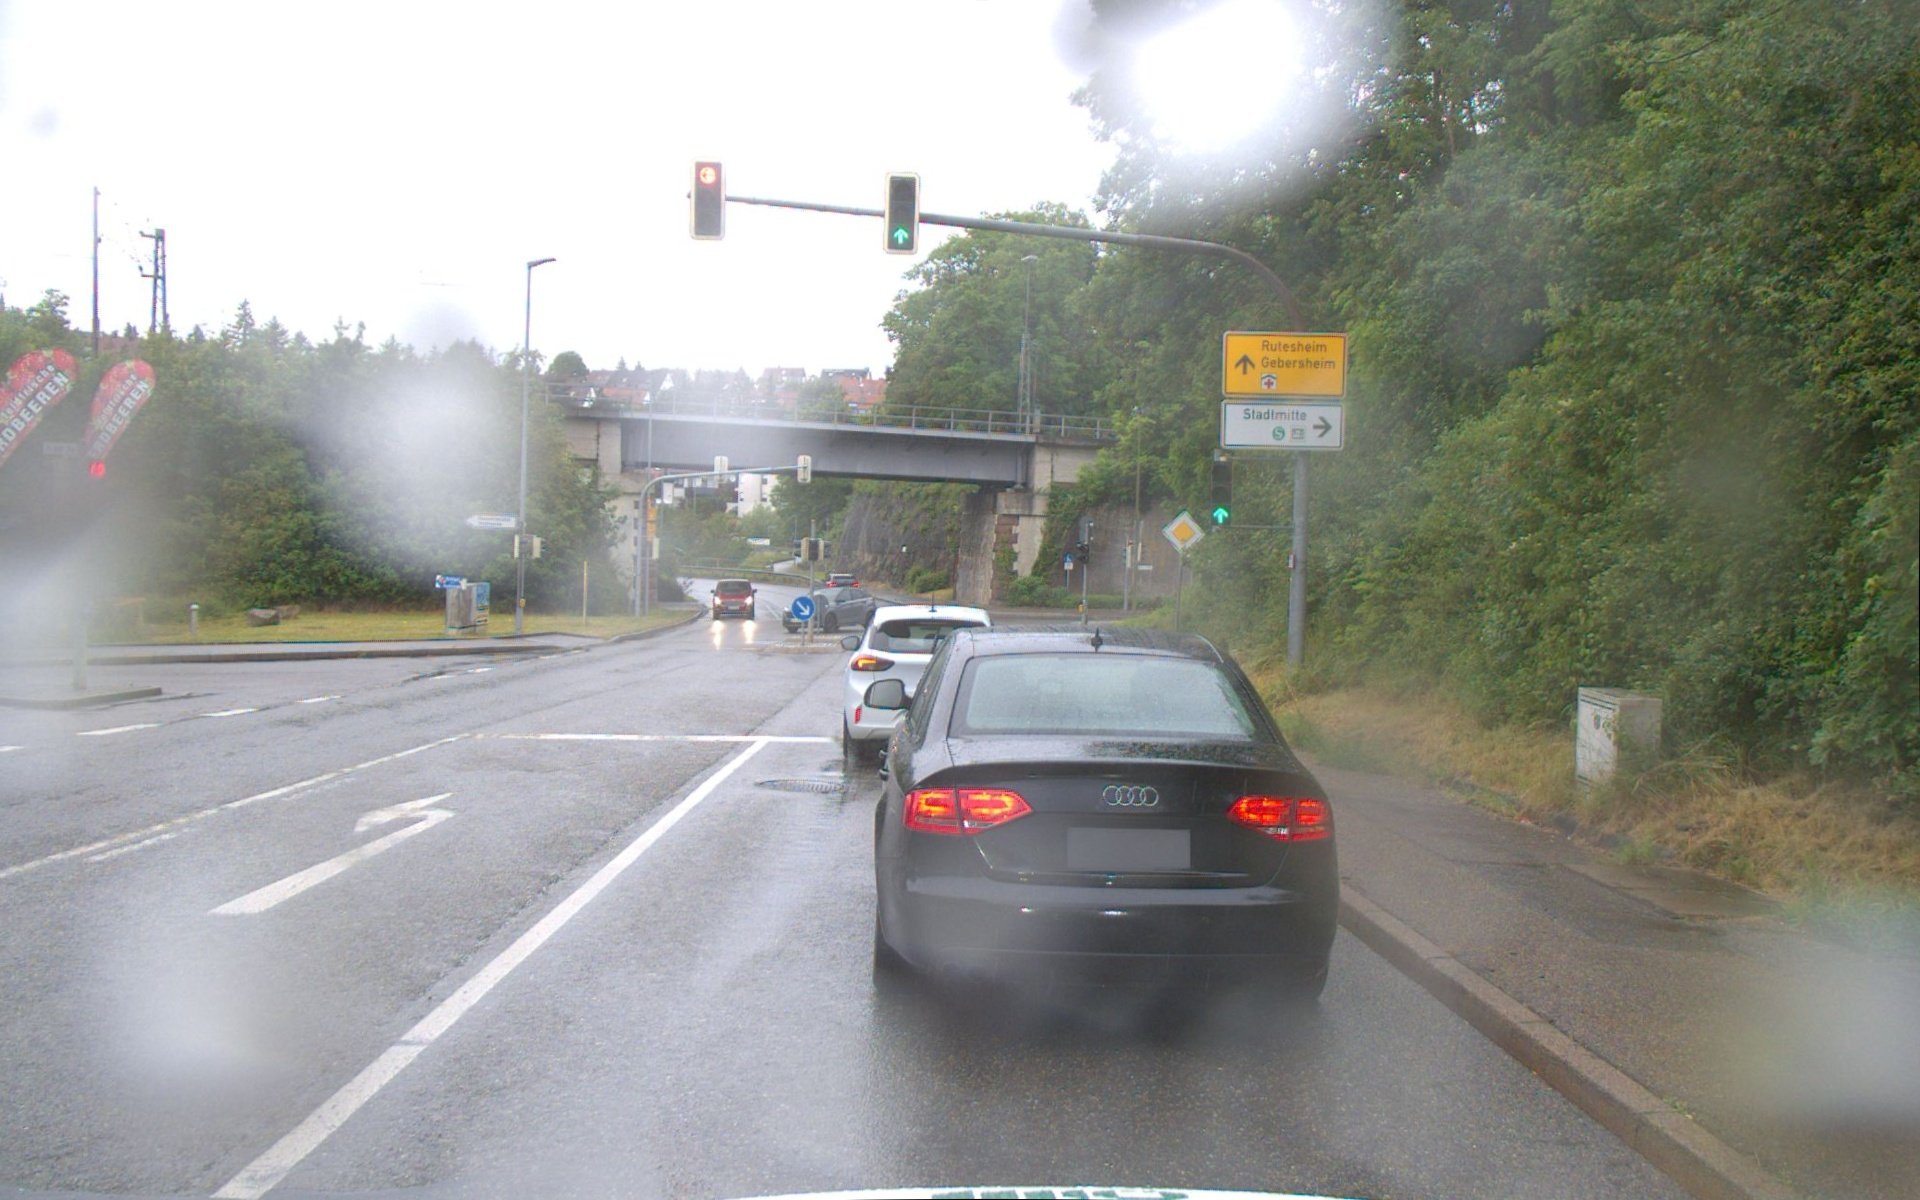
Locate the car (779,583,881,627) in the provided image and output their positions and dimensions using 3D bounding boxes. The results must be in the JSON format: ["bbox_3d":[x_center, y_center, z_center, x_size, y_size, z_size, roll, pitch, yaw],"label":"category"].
[{"bbox_3d":[-4.574,0.180,58.569,1.609,1.495,3.992,1,0,30],"label":"car"}]

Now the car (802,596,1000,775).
[{"bbox_3d":[-0.566,0.817,17.040,1.786,1.613,3.999,1,-1,-1],"label":"car"}]

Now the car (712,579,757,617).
[{"bbox_3d":[-10.136,-0.105,74.497,1.956,1.657,3.993,0,0,-8],"label":"car"}]

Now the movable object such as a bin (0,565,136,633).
[{"bbox_3d":[-24.127,-0.007,41.347,2.699,1.656,5.752,0,-1,39],"label":"movable object such as a bin"}]

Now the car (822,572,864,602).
[{"bbox_3d":[-6.560,-0.745,92.585,1.957,1.624,3.991,0,0,-10],"label":"car"}]

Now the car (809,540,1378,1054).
[{"bbox_3d":[0.405,0.673,7.343,1.832,1.645,3.999,1,-1,-1],"label":"car"}]
